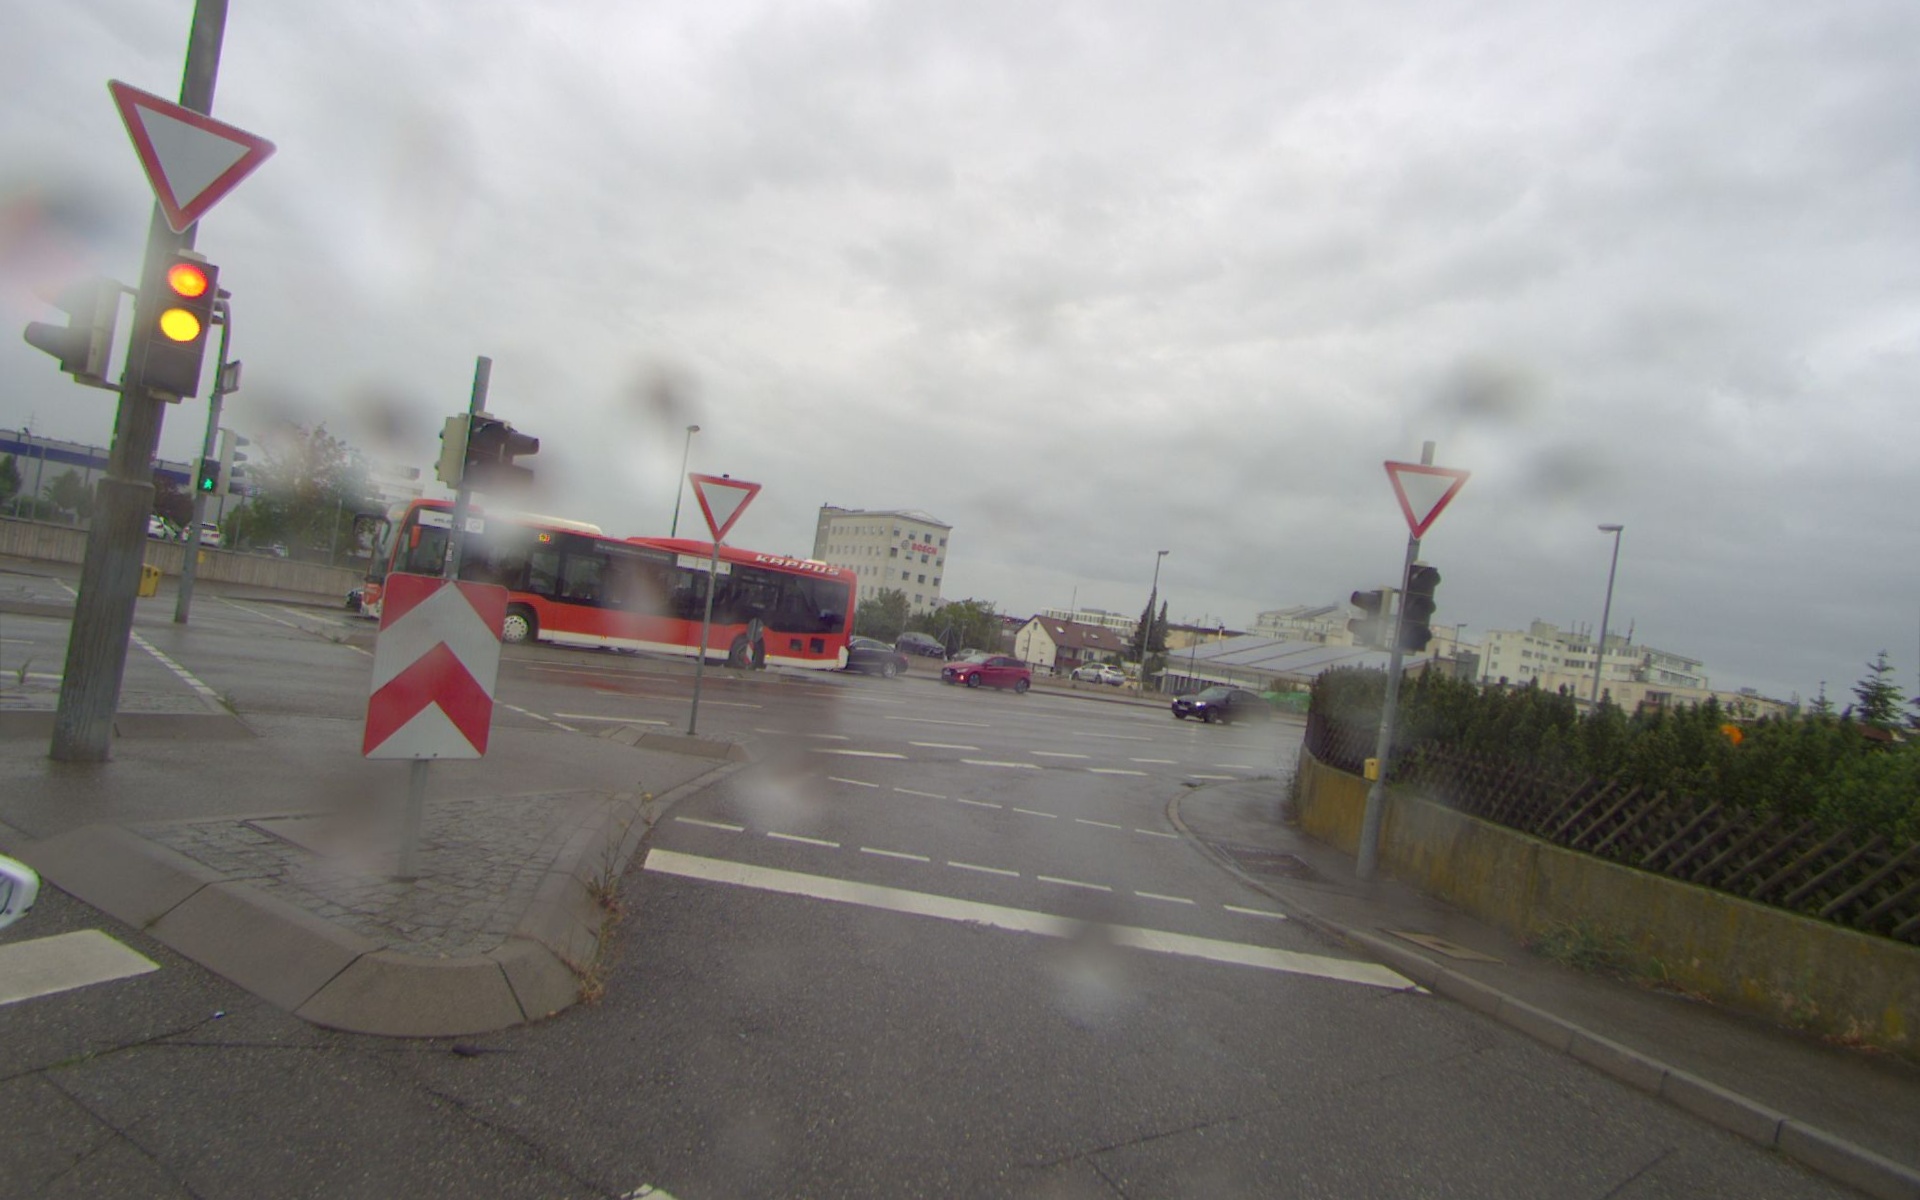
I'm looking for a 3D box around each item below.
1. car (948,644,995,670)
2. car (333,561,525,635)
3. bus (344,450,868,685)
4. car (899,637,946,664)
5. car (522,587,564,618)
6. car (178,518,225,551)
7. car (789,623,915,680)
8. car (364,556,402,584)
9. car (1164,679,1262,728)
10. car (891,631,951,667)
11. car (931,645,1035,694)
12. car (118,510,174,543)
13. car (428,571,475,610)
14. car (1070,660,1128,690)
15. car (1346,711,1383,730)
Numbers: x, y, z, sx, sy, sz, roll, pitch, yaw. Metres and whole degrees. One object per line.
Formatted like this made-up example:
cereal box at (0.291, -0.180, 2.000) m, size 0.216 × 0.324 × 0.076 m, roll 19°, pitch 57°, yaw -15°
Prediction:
car at (0.900, 4.693, 83.541) m, size 1.980 × 1.636 × 3.970 m, roll 9°, pitch -2°, yaw -30°
car at (-14.830, -0.026, 28.253) m, size 4.367 × 1.370 × 1.804 m, roll 10°, pitch -3°, yaw -42°
bus at (-8.330, -0.410, 25.879) m, size 12.223 × 3.614 × 2.952 m, roll 12°, pitch -4°, yaw -41°
car at (-3.068, 4.078, 81.254) m, size 1.980 × 1.636 × 3.970 m, roll 9°, pitch -2°, yaw -30°
car at (-32.718, 0.190, 78.809) m, size 1.983 × 2.037 × 3.962 m, roll 8°, pitch -2°, yaw -36°
car at (-43.821, -3.744, 58.221) m, size 1.847 × 1.543 × 4.066 m, roll 8°, pitch -2°, yaw -35°
car at (-4.042, 1.969, 38.065) m, size 4.367 × 1.555 × 1.804 m, roll 10°, pitch -3°, yaw -42°
car at (-41.610, -2.179, 72.553) m, size 1.912 × 1.607 × 3.754 m, roll 9°, pitch -2°, yaw -34°
car at (10.282, 4.206, 40.753) m, size 3.974 × 1.515 × 1.832 m, roll 9°, pitch -3°, yaw -41°
car at (-2.423, 3.001, 61.731) m, size 1.912 × 1.684 × 3.869 m, roll 9°, pitch -2°, yaw -29°
car at (0.975, 2.903, 42.061) m, size 3.948 × 1.525 × 1.853 m, roll 9°, pitch -2°, yaw -36°
car at (-45.608, -4.097, 56.453) m, size 1.805 × 1.450 × 4.071 m, roll 8°, pitch -2°, yaw -32°
car at (-30.993, -0.605, 61.313) m, size 1.734 × 2.037 × 3.786 m, roll 8°, pitch -2°, yaw -37°
car at (9.662, 5.218, 70.119) m, size 1.976 × 1.561 × 3.977 m, roll 9°, pitch -2°, yaw -25°
car at (41.248, 12.326, 102.504) m, size 3.616 × 1.436 × 1.720 m, roll 10°, pitch -2°, yaw -36°
